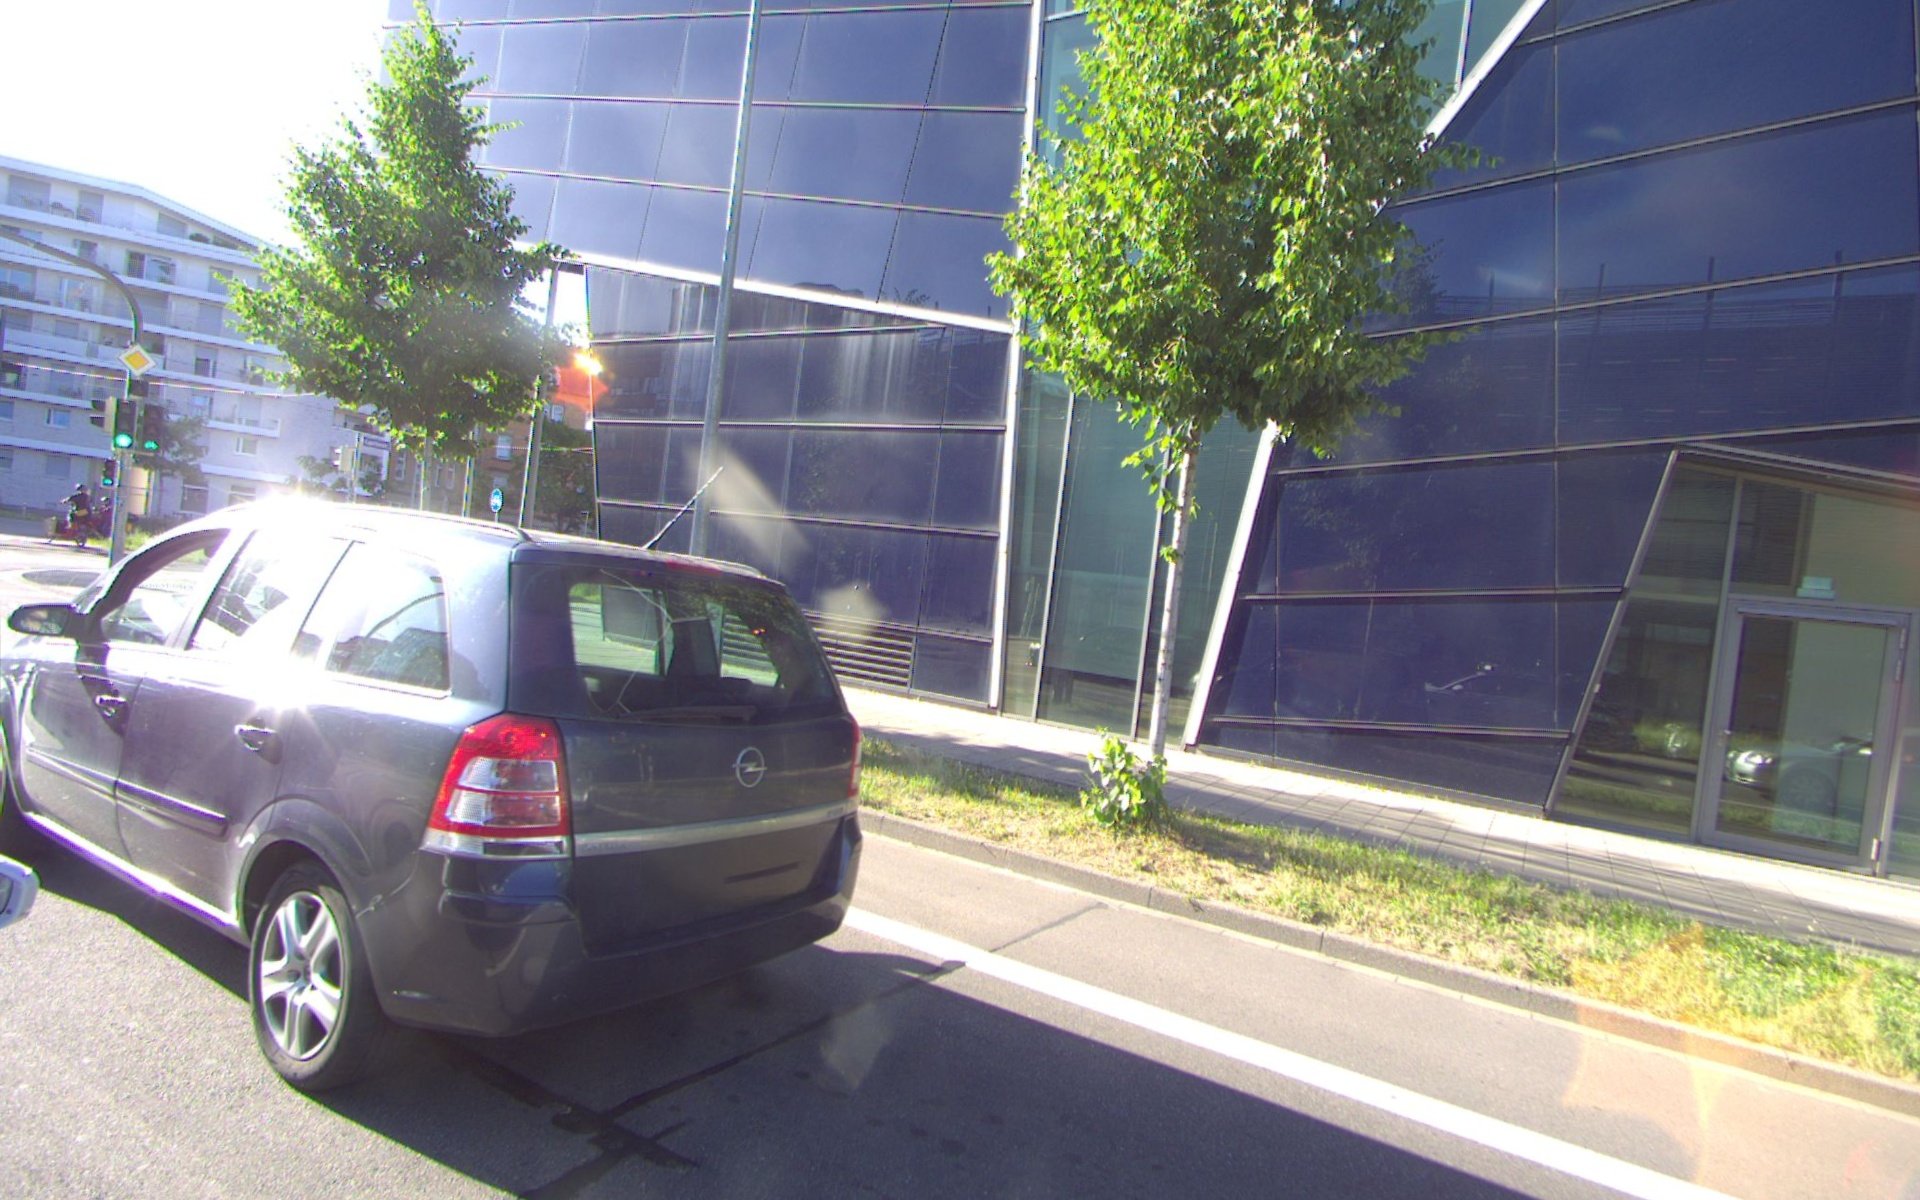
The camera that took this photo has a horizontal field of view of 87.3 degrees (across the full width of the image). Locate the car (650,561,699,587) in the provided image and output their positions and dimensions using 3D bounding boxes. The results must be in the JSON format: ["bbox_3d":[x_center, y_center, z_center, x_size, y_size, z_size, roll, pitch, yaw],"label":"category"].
[{"bbox_3d":[-23.896,-2.189,84.032,3.944,1.794,1.990,6,1,41],"label":"car"}]

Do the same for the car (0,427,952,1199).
[{"bbox_3d":[-2.352,0.381,4.073,4.190,1.715,1.749,7,-2,32],"label":"car"}]

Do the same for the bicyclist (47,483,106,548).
[{"bbox_3d":[-25.621,-2.443,29.184,0.912,1.728,0.768,7,1,14],"label":"bicyclist"}]

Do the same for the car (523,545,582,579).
[{"bbox_3d":[-35.626,-3.341,87.930,4.541,2.339,1.989,7,0,-23],"label":"car"}]

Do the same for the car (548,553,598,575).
[{"bbox_3d":[-30.787,-2.884,79.971,3.944,1.371,1.990,6,0,41],"label":"car"}]

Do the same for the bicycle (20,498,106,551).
[{"bbox_3d":[-26.122,-2.194,29.298,2.042,1.278,0.768,7,1,14],"label":"bicycle"}]

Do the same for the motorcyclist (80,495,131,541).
[{"bbox_3d":[-31.973,-3.062,37.649,1.150,1.500,0.927,7,1,22],"label":"motorcyclist"}]

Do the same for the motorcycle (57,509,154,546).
[{"bbox_3d":[-31.992,-2.708,37.698,1.150,1.013,2.460,7,0,21],"label":"motorcycle"}]

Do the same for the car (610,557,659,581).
[{"bbox_3d":[-26.739,-2.546,82.646,3.944,1.505,1.990,6,0,41],"label":"car"}]
